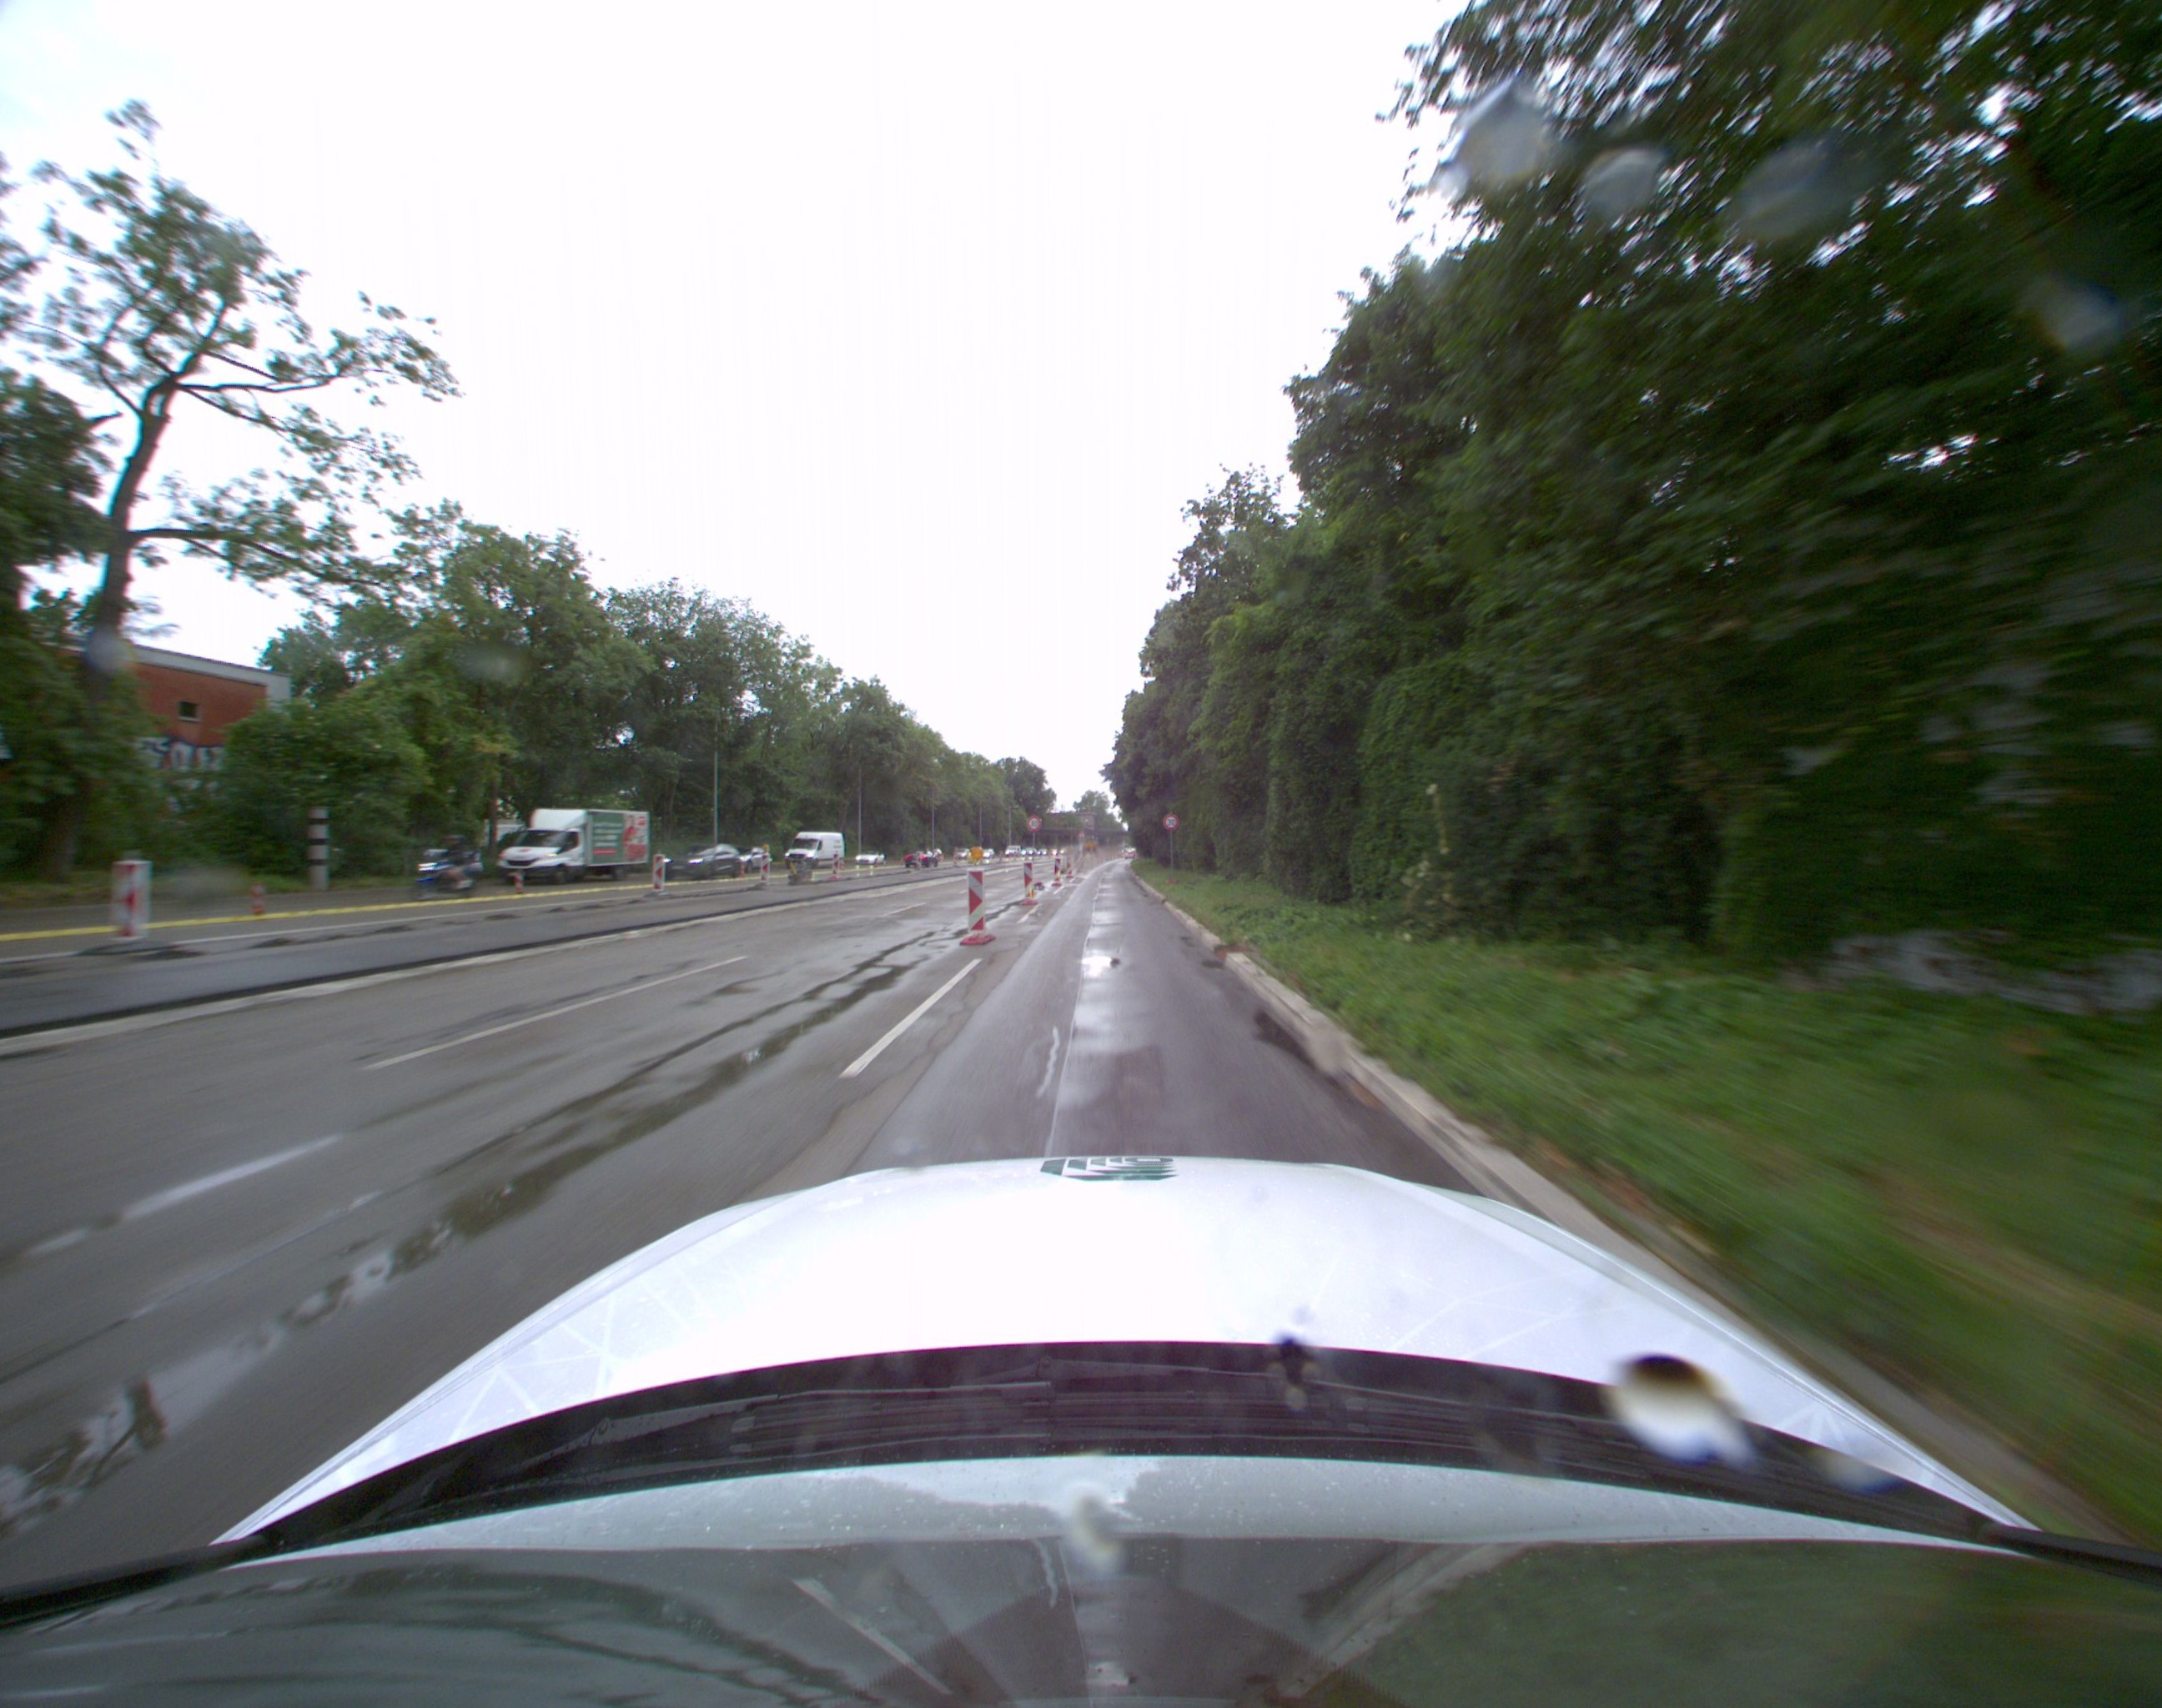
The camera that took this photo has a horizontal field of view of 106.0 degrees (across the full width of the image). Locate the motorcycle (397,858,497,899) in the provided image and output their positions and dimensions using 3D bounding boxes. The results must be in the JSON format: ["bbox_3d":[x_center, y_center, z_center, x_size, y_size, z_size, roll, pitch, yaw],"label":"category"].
[{"bbox_3d":[-17.349,0.641,22.378,0.825,1.014,2.368,0,0,2],"label":"motorcycle"}]

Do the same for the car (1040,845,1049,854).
[{"bbox_3d":[-7.813,-0.917,174.756,1.663,1.808,4.323,-1,1,3],"label":"car"}]

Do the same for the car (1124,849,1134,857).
[{"bbox_3d":[9.208,-0.223,154.897,1.691,1.336,3.492,-3,0,1],"label":"car"}]

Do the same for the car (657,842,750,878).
[{"bbox_3d":[-17.115,0.213,37.176,1.952,1.531,4.440,-1,1,3],"label":"car"}]

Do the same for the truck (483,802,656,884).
[{"bbox_3d":[-20.138,-0.436,32.655,2.237,2.940,6.940,-1,1,3],"label":"truck"}]

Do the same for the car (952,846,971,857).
[{"bbox_3d":[-16.162,-0.328,110.250,1.663,1.485,4.052,-1,1,3],"label":"car"}]

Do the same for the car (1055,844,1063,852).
[{"bbox_3d":[-5.122,-1.497,189.309,1.663,1.808,4.323,-1,1,3],"label":"car"}]

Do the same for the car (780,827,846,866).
[{"bbox_3d":[-18.960,-0.525,58.088,2.091,2.579,6.859,-1,1,3],"label":"car"}]

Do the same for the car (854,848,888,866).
[{"bbox_3d":[-18.420,0.272,71.649,1.663,1.485,4.323,-1,1,3],"label":"car"}]

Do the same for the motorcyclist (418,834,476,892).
[{"bbox_3d":[-17.348,0.233,22.300,0.825,1.564,0.927,0,0,1],"label":"motorcyclist"}]

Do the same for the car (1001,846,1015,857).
[{"bbox_3d":[-11.724,-0.444,131.193,1.663,1.808,4.323,-1,1,3],"label":"car"}]

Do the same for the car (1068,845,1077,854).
[{"bbox_3d":[-1.736,-1.039,176.521,1.663,1.808,4.324,0,2,3],"label":"car"}]

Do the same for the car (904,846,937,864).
[{"bbox_3d":[-12.817,0.064,65.138,1.601,1.404,4.044,-1,1,3],"label":"car"}]

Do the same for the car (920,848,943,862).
[{"bbox_3d":[-17.450,0.111,95.180,1.663,1.485,4.323,-1,1,3],"label":"car"}]

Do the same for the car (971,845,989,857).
[{"bbox_3d":[-13.354,-0.418,107.917,1.663,1.485,4.323,-1,1,3],"label":"car"}]

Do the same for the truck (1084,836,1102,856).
[{"bbox_3d":[2.331,-1.515,154.154,3.247,3.497,13.876,-1,1,2],"label":"truck"}]

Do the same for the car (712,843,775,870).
[{"bbox_3d":[-19.518,0.088,47.326,1.663,1.485,4.323,-1,1,3],"label":"car"}]
